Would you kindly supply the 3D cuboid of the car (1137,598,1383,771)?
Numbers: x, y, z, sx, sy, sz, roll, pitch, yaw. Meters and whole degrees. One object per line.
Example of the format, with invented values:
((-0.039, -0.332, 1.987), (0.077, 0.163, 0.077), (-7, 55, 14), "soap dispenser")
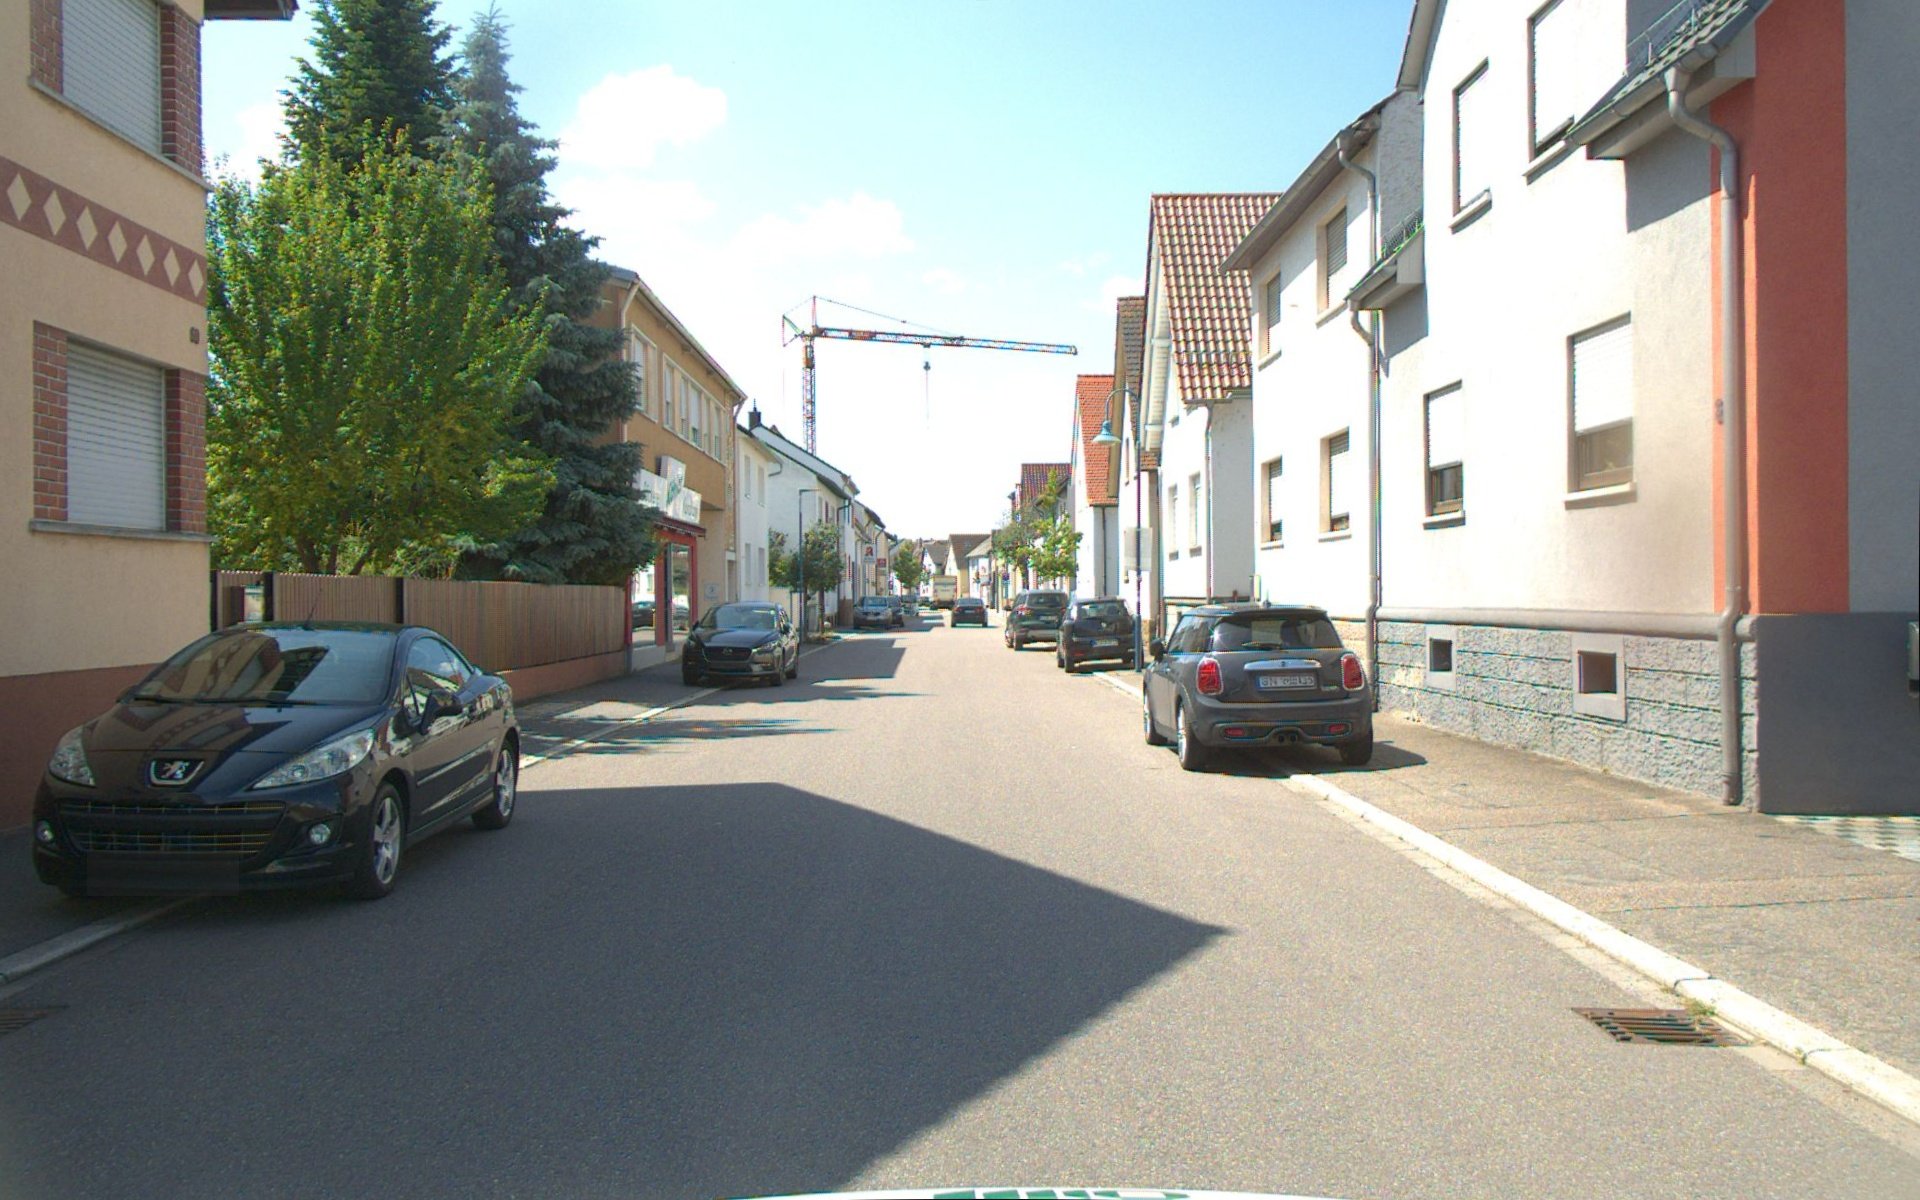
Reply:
((2.750, 0.712, 15.907), (1.654, 1.447, 3.656), (-1, 0, -1), "car")

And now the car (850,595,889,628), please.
((-4.347, 0.543, 79.984), (1.723, 1.551, 4.288), (-1, 0, -1), "car")

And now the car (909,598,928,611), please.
((-6.095, 0.635, 242.488), (1.792, 1.784, 4.210), (-1, 0, -16), "car")

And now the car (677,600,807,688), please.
((-3.962, 0.760, 30.705), (1.731, 1.485, 4.437), (-1, 0, 1), "car")

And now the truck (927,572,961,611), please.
((-1.822, -0.869, 179.193), (3.311, 3.933, 13.920), (-2, 0, -2), "truck")

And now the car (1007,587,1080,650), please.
((2.389, 0.505, 48.168), (1.694, 1.747, 4.273), (-1, 0, -3), "car")

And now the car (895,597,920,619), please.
((-3.980, 0.581, 125.913), (1.688, 1.583, 4.172), (1, 0, 0), "car")

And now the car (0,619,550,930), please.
((-3.775, 0.842, 9.775), (1.725, 1.398, 4.065), (0, 0, -1), "car")

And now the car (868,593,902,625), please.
((-3.899, 0.462, 86.668), (1.620, 1.637, 4.060), (-1, 0, -1), "car")

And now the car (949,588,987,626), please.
((0.371, 0.349, 83.104), (1.747, 1.784, 3.999), (-2, 0, -1), "car")

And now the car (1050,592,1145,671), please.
((2.887, 0.633, 35.500), (1.584, 1.522, 3.971), (-3, 0, -1), "car")
